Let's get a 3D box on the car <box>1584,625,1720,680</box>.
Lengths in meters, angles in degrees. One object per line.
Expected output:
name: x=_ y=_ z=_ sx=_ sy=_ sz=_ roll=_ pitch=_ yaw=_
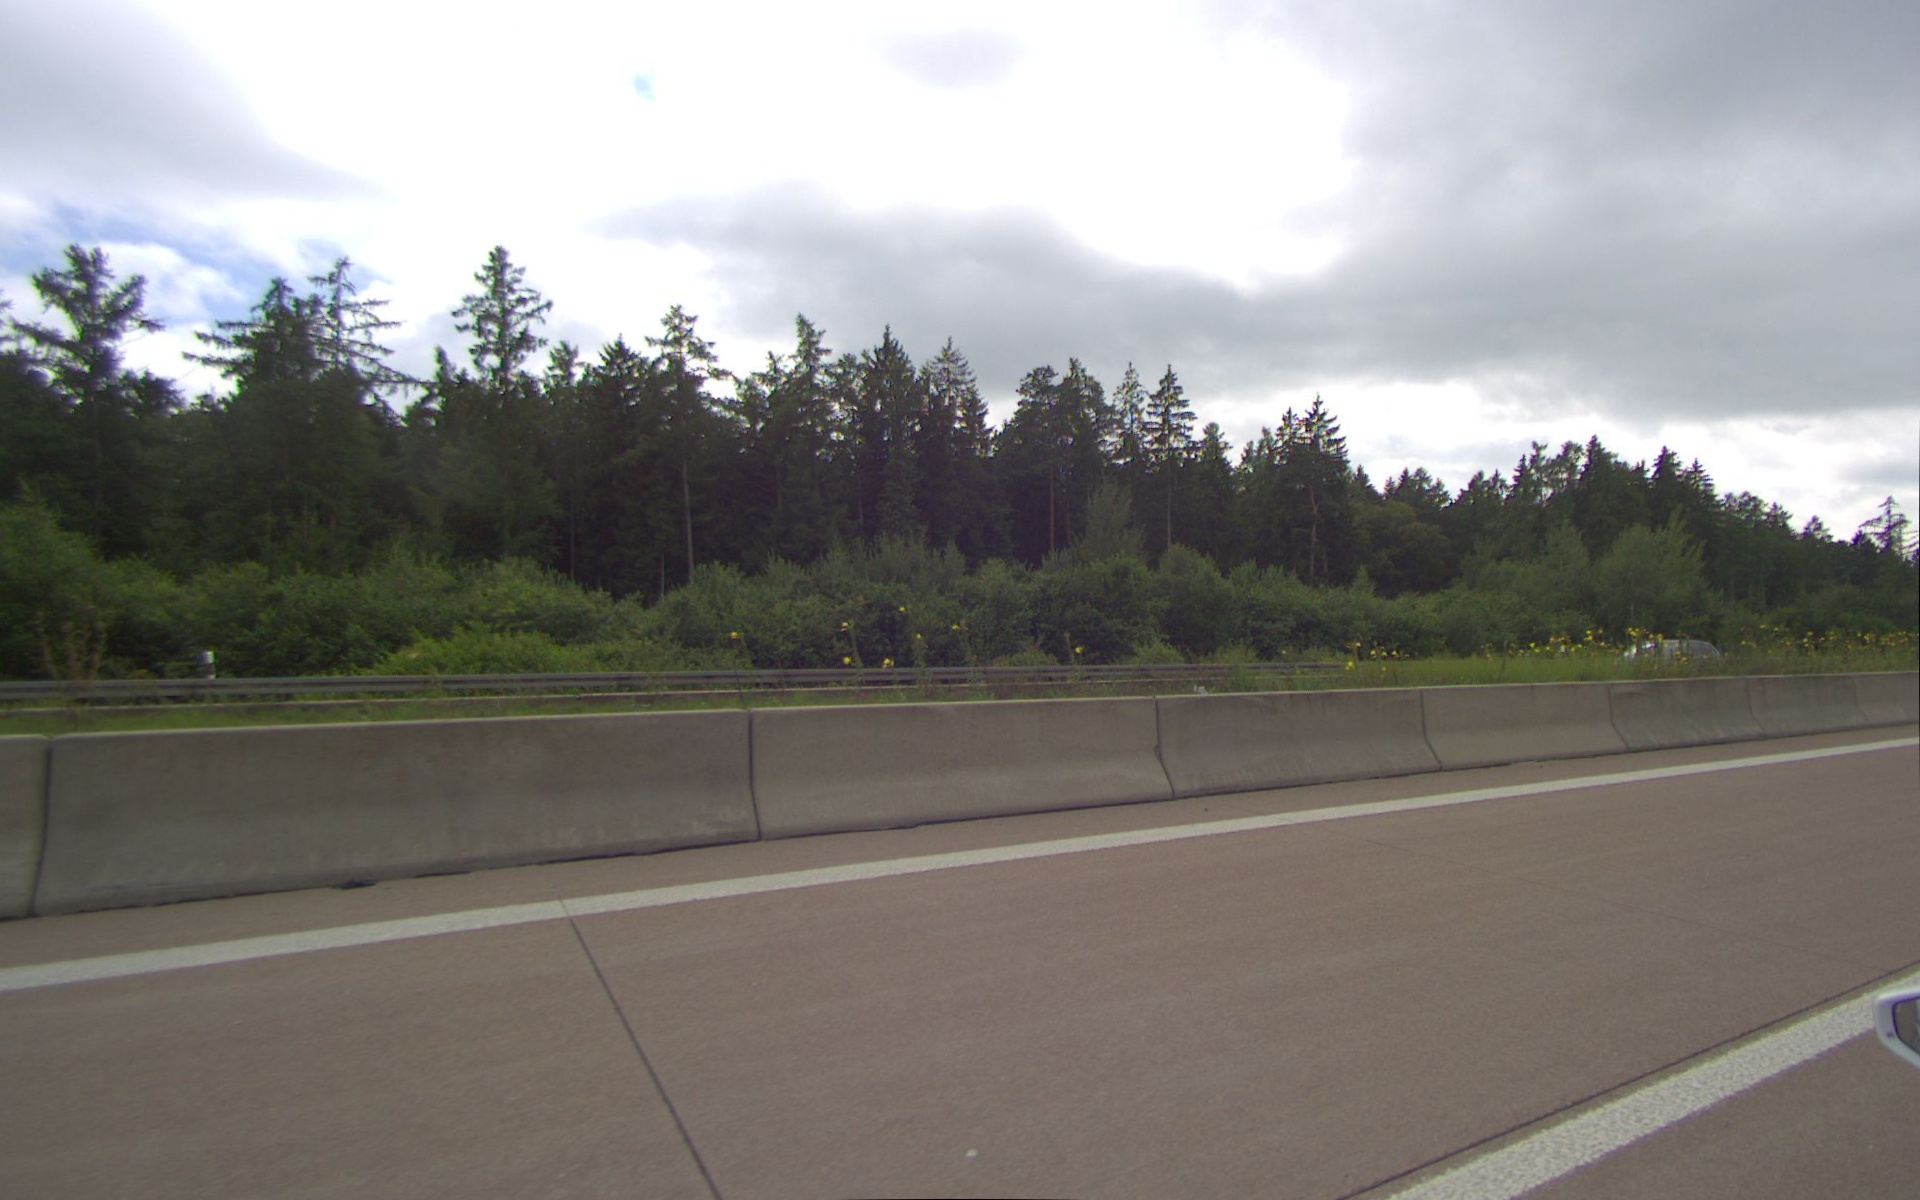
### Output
car: x=19.883 y=1.478 z=28.829 sx=3.846 sy=1.453 sz=1.740 roll=1 pitch=-1 yaw=-30
